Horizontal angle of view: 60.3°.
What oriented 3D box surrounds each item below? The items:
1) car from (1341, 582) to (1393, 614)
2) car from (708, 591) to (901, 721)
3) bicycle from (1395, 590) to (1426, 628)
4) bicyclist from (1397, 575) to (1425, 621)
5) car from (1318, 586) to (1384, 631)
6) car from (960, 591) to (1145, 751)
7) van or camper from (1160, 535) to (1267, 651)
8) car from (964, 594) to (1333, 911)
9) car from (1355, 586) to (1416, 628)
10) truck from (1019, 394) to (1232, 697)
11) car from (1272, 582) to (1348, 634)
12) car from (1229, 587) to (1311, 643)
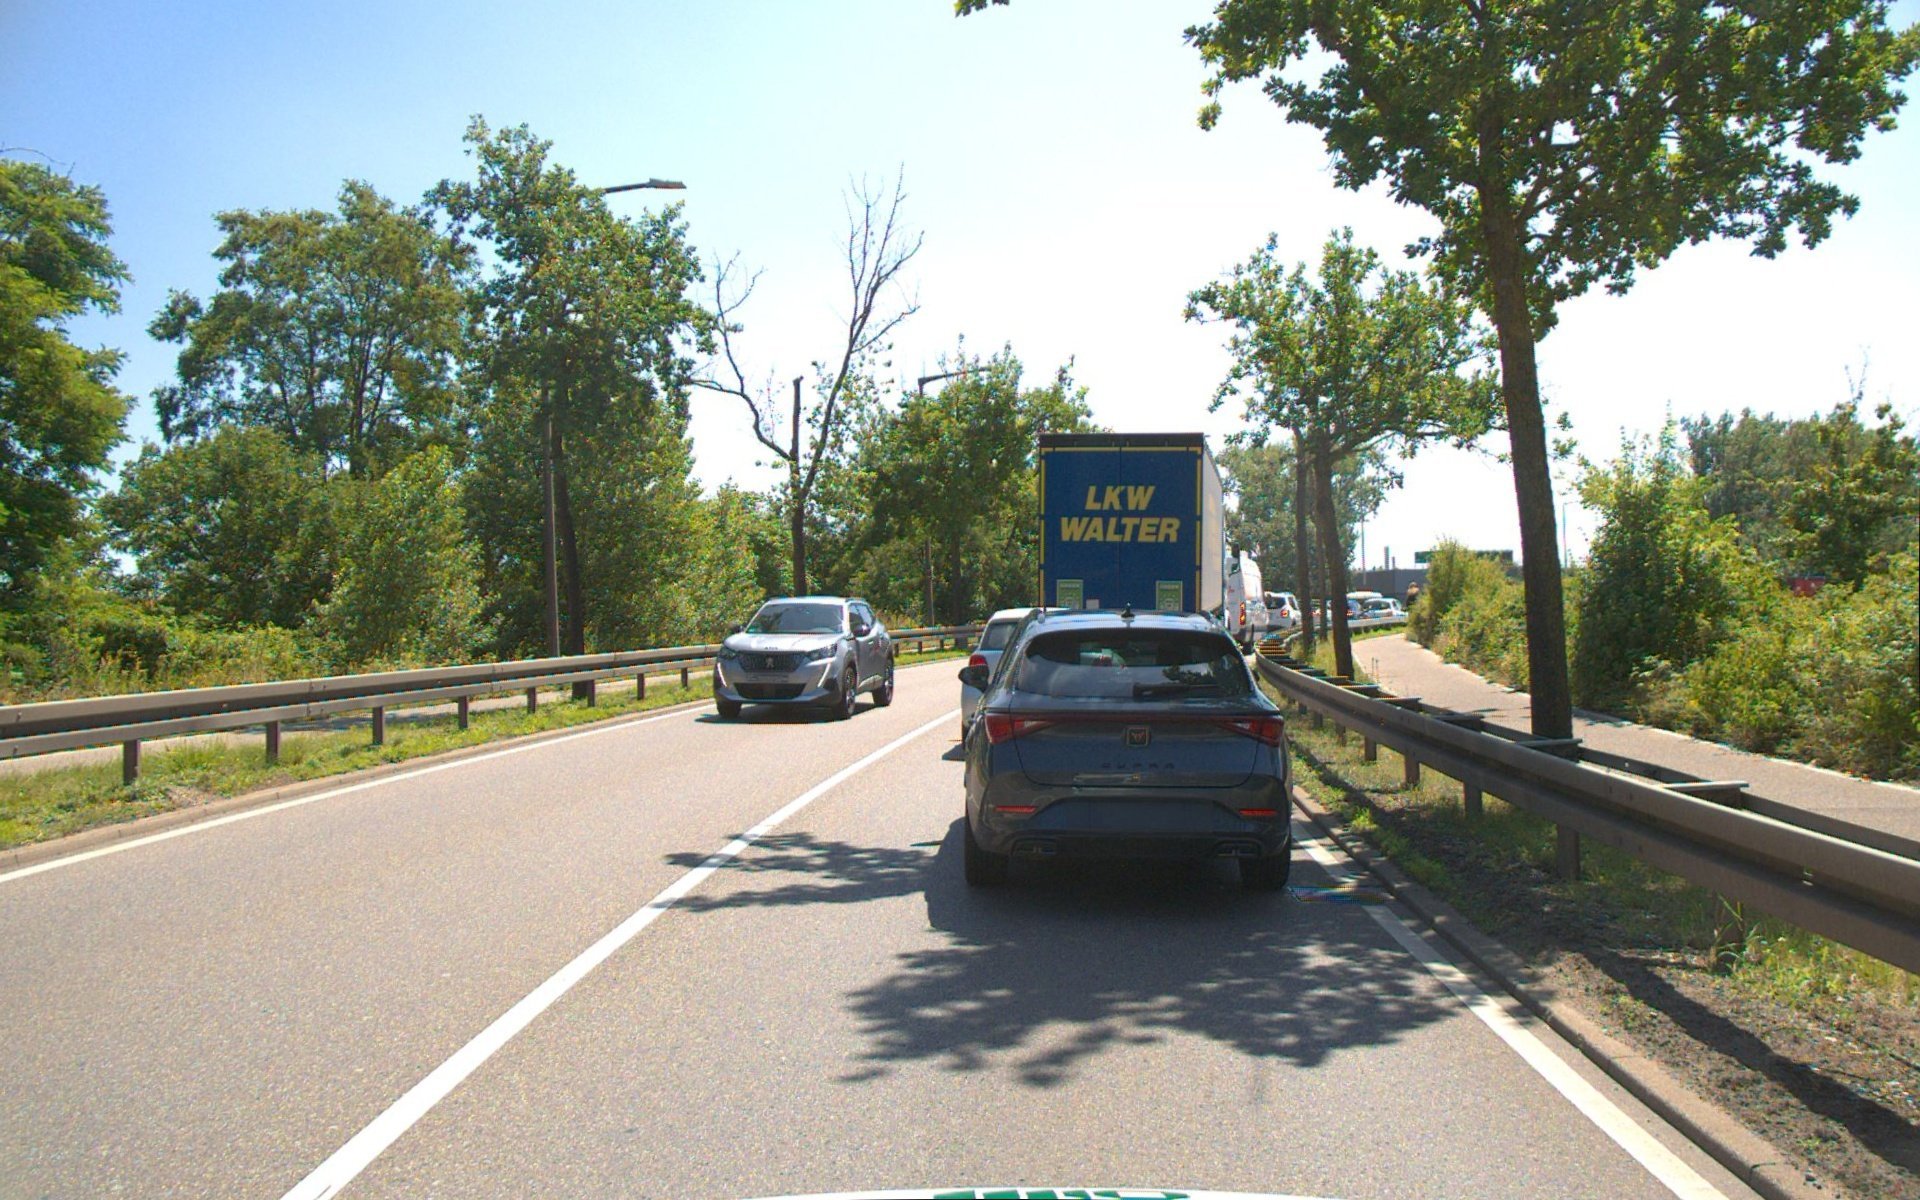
[{"bbox_3d":[21.040,-0.082,85.389,1.715,1.583,4.122,0,0,27],"label":"car"},{"bbox_3d":[-2.003,0.699,22.503,1.712,1.583,4.130,0,0,8],"label":"car"},{"bbox_3d":[15.474,0.312,56.764,0.842,1.258,2.310,0,0,20],"label":"bicycle"},{"bbox_3d":[15.461,-0.069,56.747,0.842,1.550,0.980,0,0,20],"label":"bicyclist"},{"bbox_3d":[16.102,0.347,67.900,1.953,1.747,4.868,0,0,21],"label":"car"},{"bbox_3d":[0.959,0.691,18.021,1.772,1.534,4.001,1,0,2],"label":"car"},{"bbox_3d":[7.255,-0.187,46.810,2.414,3.051,6.091,0,0,14],"label":"van or camper"},{"bbox_3d":[0.918,0.714,9.650,1.708,1.457,3.880,1,0,1],"label":"car"},{"bbox_3d":[19.176,0.308,74.471,1.953,1.799,4.753,0,0,23],"label":"car"},{"bbox_3d":[3.837,-0.801,33.239,2.887,4.526,16.812,0,0,10],"label":"truck"},{"bbox_3d":[13.007,0.282,61.256,1.953,1.840,4.845,0,0,21],"label":"car"},{"bbox_3d":[10.330,0.483,54.802,1.952,1.742,4.621,0,0,20],"label":"car"}]
